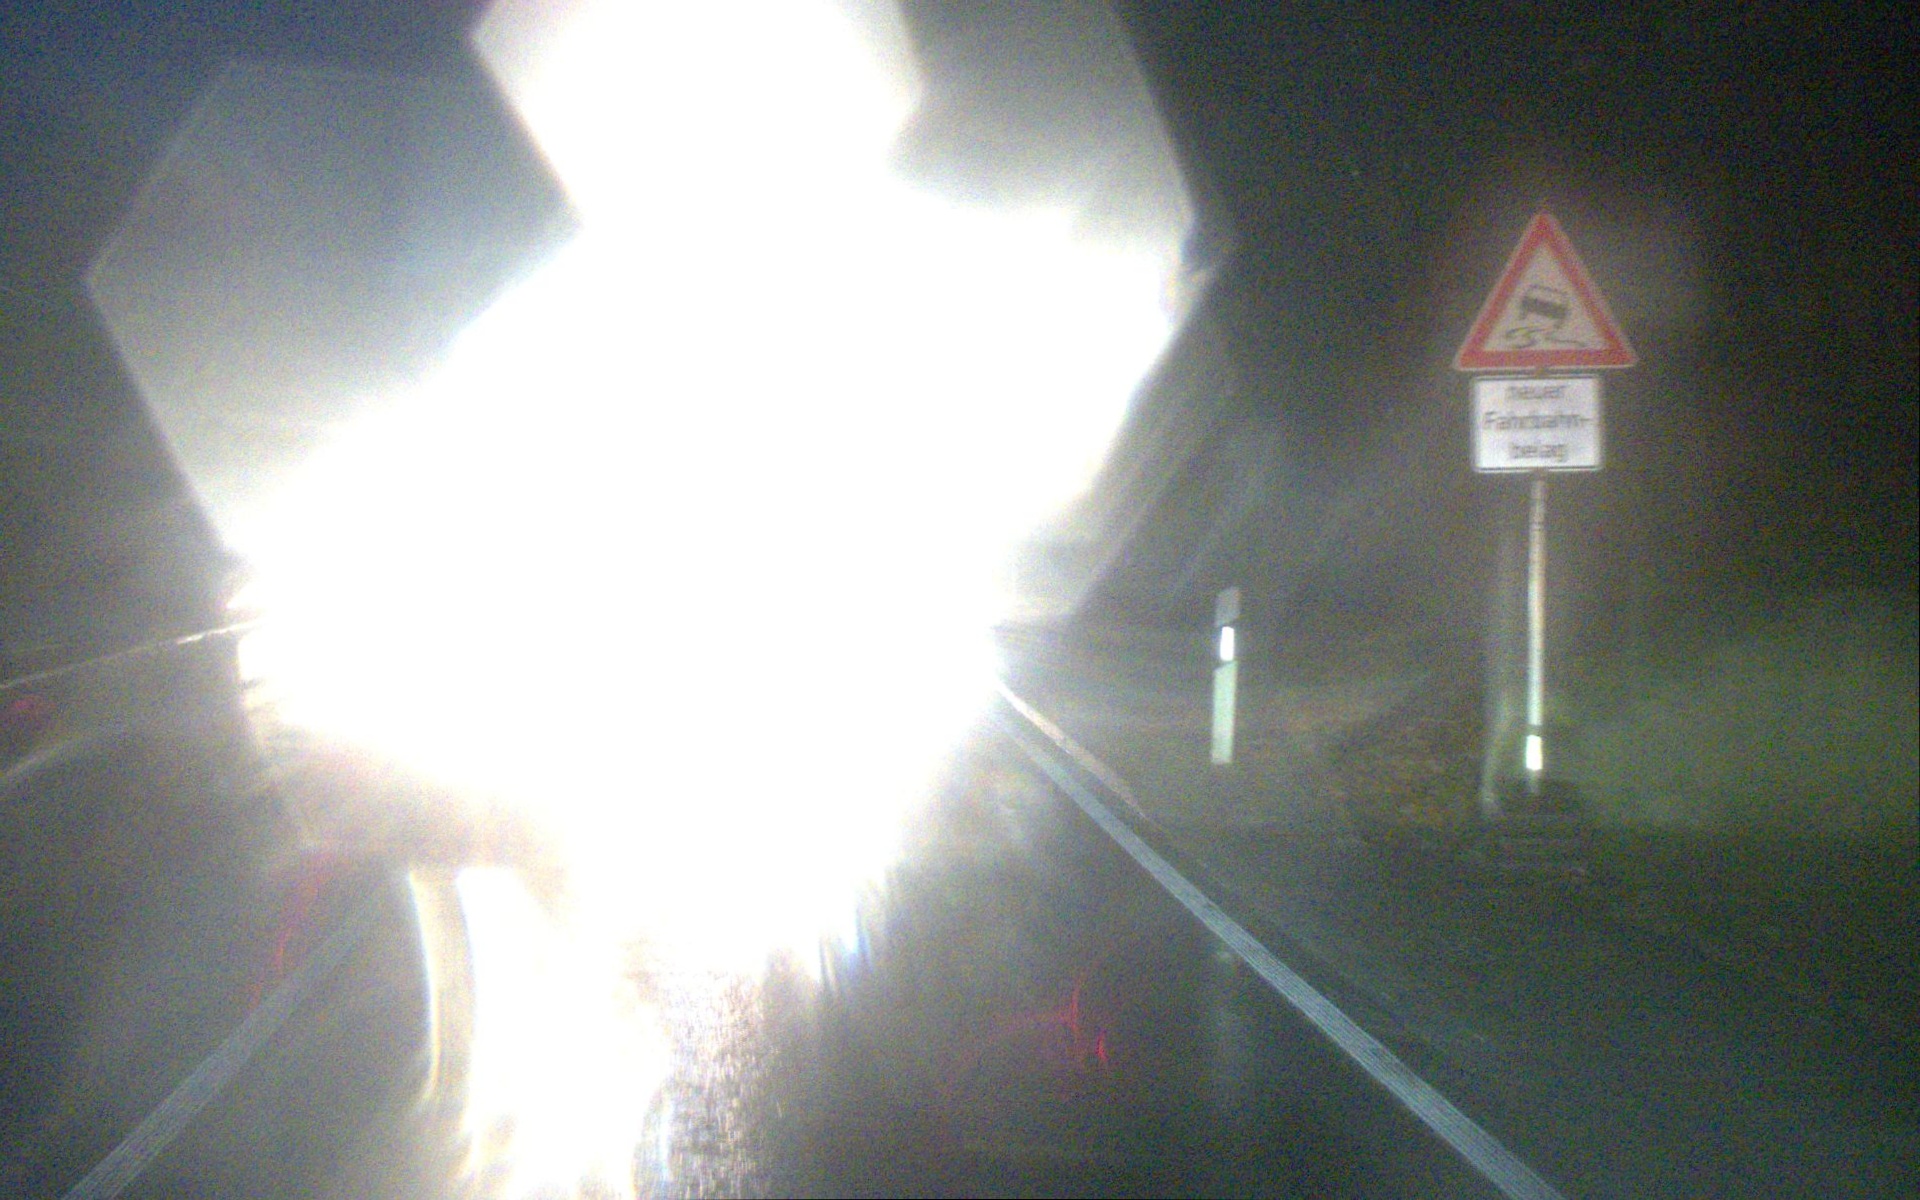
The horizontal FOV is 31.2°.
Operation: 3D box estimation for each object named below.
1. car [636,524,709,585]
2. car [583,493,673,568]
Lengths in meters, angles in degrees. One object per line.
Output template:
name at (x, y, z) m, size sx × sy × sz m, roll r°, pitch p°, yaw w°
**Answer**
car at (-8.184, -1.311, 98.223) m, size 1.888 × 1.580 × 4.001 m, roll -1°, pitch 2°, yaw -2°
car at (-7.885, -1.681, 82.005) m, size 1.888 × 1.665 × 4.001 m, roll -1°, pitch 2°, yaw -2°
